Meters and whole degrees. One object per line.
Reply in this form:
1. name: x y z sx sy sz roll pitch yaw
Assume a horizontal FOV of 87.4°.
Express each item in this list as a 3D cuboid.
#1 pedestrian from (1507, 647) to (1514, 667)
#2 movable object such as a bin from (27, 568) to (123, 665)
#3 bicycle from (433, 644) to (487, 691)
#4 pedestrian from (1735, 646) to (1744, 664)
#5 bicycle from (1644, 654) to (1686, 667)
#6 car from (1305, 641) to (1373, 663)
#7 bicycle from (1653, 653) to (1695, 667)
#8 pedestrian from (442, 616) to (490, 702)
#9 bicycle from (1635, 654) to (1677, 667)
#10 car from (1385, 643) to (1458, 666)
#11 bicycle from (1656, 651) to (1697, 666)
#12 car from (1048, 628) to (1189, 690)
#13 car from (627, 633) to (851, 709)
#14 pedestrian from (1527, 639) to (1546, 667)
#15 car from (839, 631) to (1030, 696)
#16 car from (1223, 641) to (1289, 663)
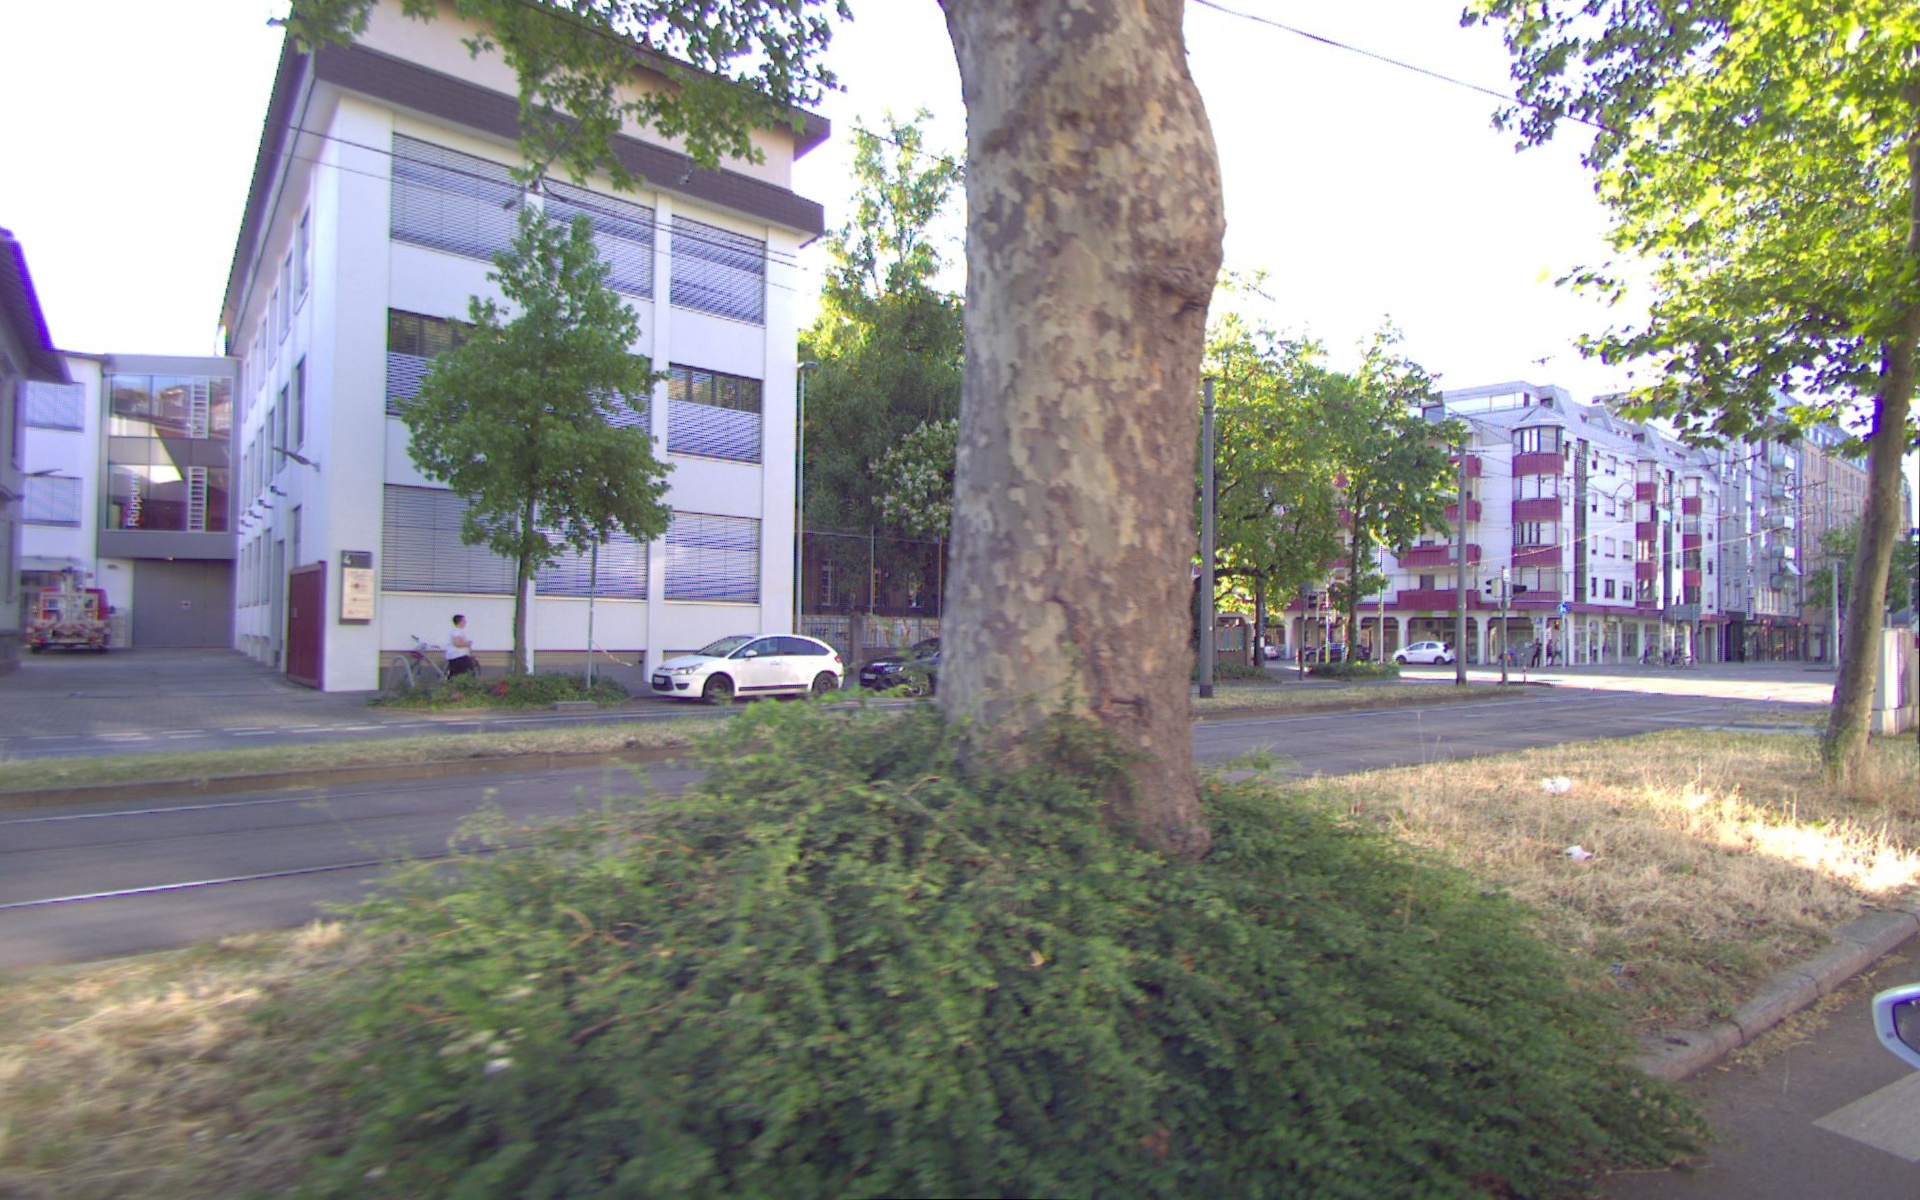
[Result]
1. pedestrian: 34.016 3.539 62.077 0.316 1.230 0.300 2 -3 -43
2. movable object such as a bin: -30.695 0.481 35.003 2.270 3.043 6.045 2 1 -40
3. bicycle: -11.002 1.471 22.130 1.010 1.015 0.300 2 -3 -40
4. pedestrian: 65.137 4.581 83.935 0.524 1.478 0.505 2 -3 -43
5. bicycle: 45.222 3.861 64.479 0.488 0.797 2.151 2 -3 -40
6. car: 25.754 3.514 68.346 3.941 1.483 1.793 -2 -3 40
7. bicycle: 46.355 3.889 65.210 0.524 0.835 2.151 2 -3 -40
8. pedestrian: -9.714 1.147 19.744 0.725 1.642 0.631 2 -1 -36
9. bicycle: 44.481 3.837 64.209 0.636 0.797 2.151 2 -3 -40
10. car: 29.757 3.500 64.826 3.941 1.483 1.793 -2 -3 41
11. bicycle: 46.827 3.819 65.647 0.488 0.963 2.151 2 -3 -40
12. car: 4.779 1.732 30.047 4.145 1.711 1.977 2 -3 -41
13. car: -4.744 1.477 21.897 4.371 1.490 1.977 2 -3 -41
14. pedestrian: 34.199 3.144 59.572 1.026 1.684 0.702 2 -3 -43
15. car: -0.569 1.546 25.309 4.613 1.495 1.977 2 -3 -41
16. car: 21.326 3.744 72.528 4.211 1.483 1.792 -2 -3 42
